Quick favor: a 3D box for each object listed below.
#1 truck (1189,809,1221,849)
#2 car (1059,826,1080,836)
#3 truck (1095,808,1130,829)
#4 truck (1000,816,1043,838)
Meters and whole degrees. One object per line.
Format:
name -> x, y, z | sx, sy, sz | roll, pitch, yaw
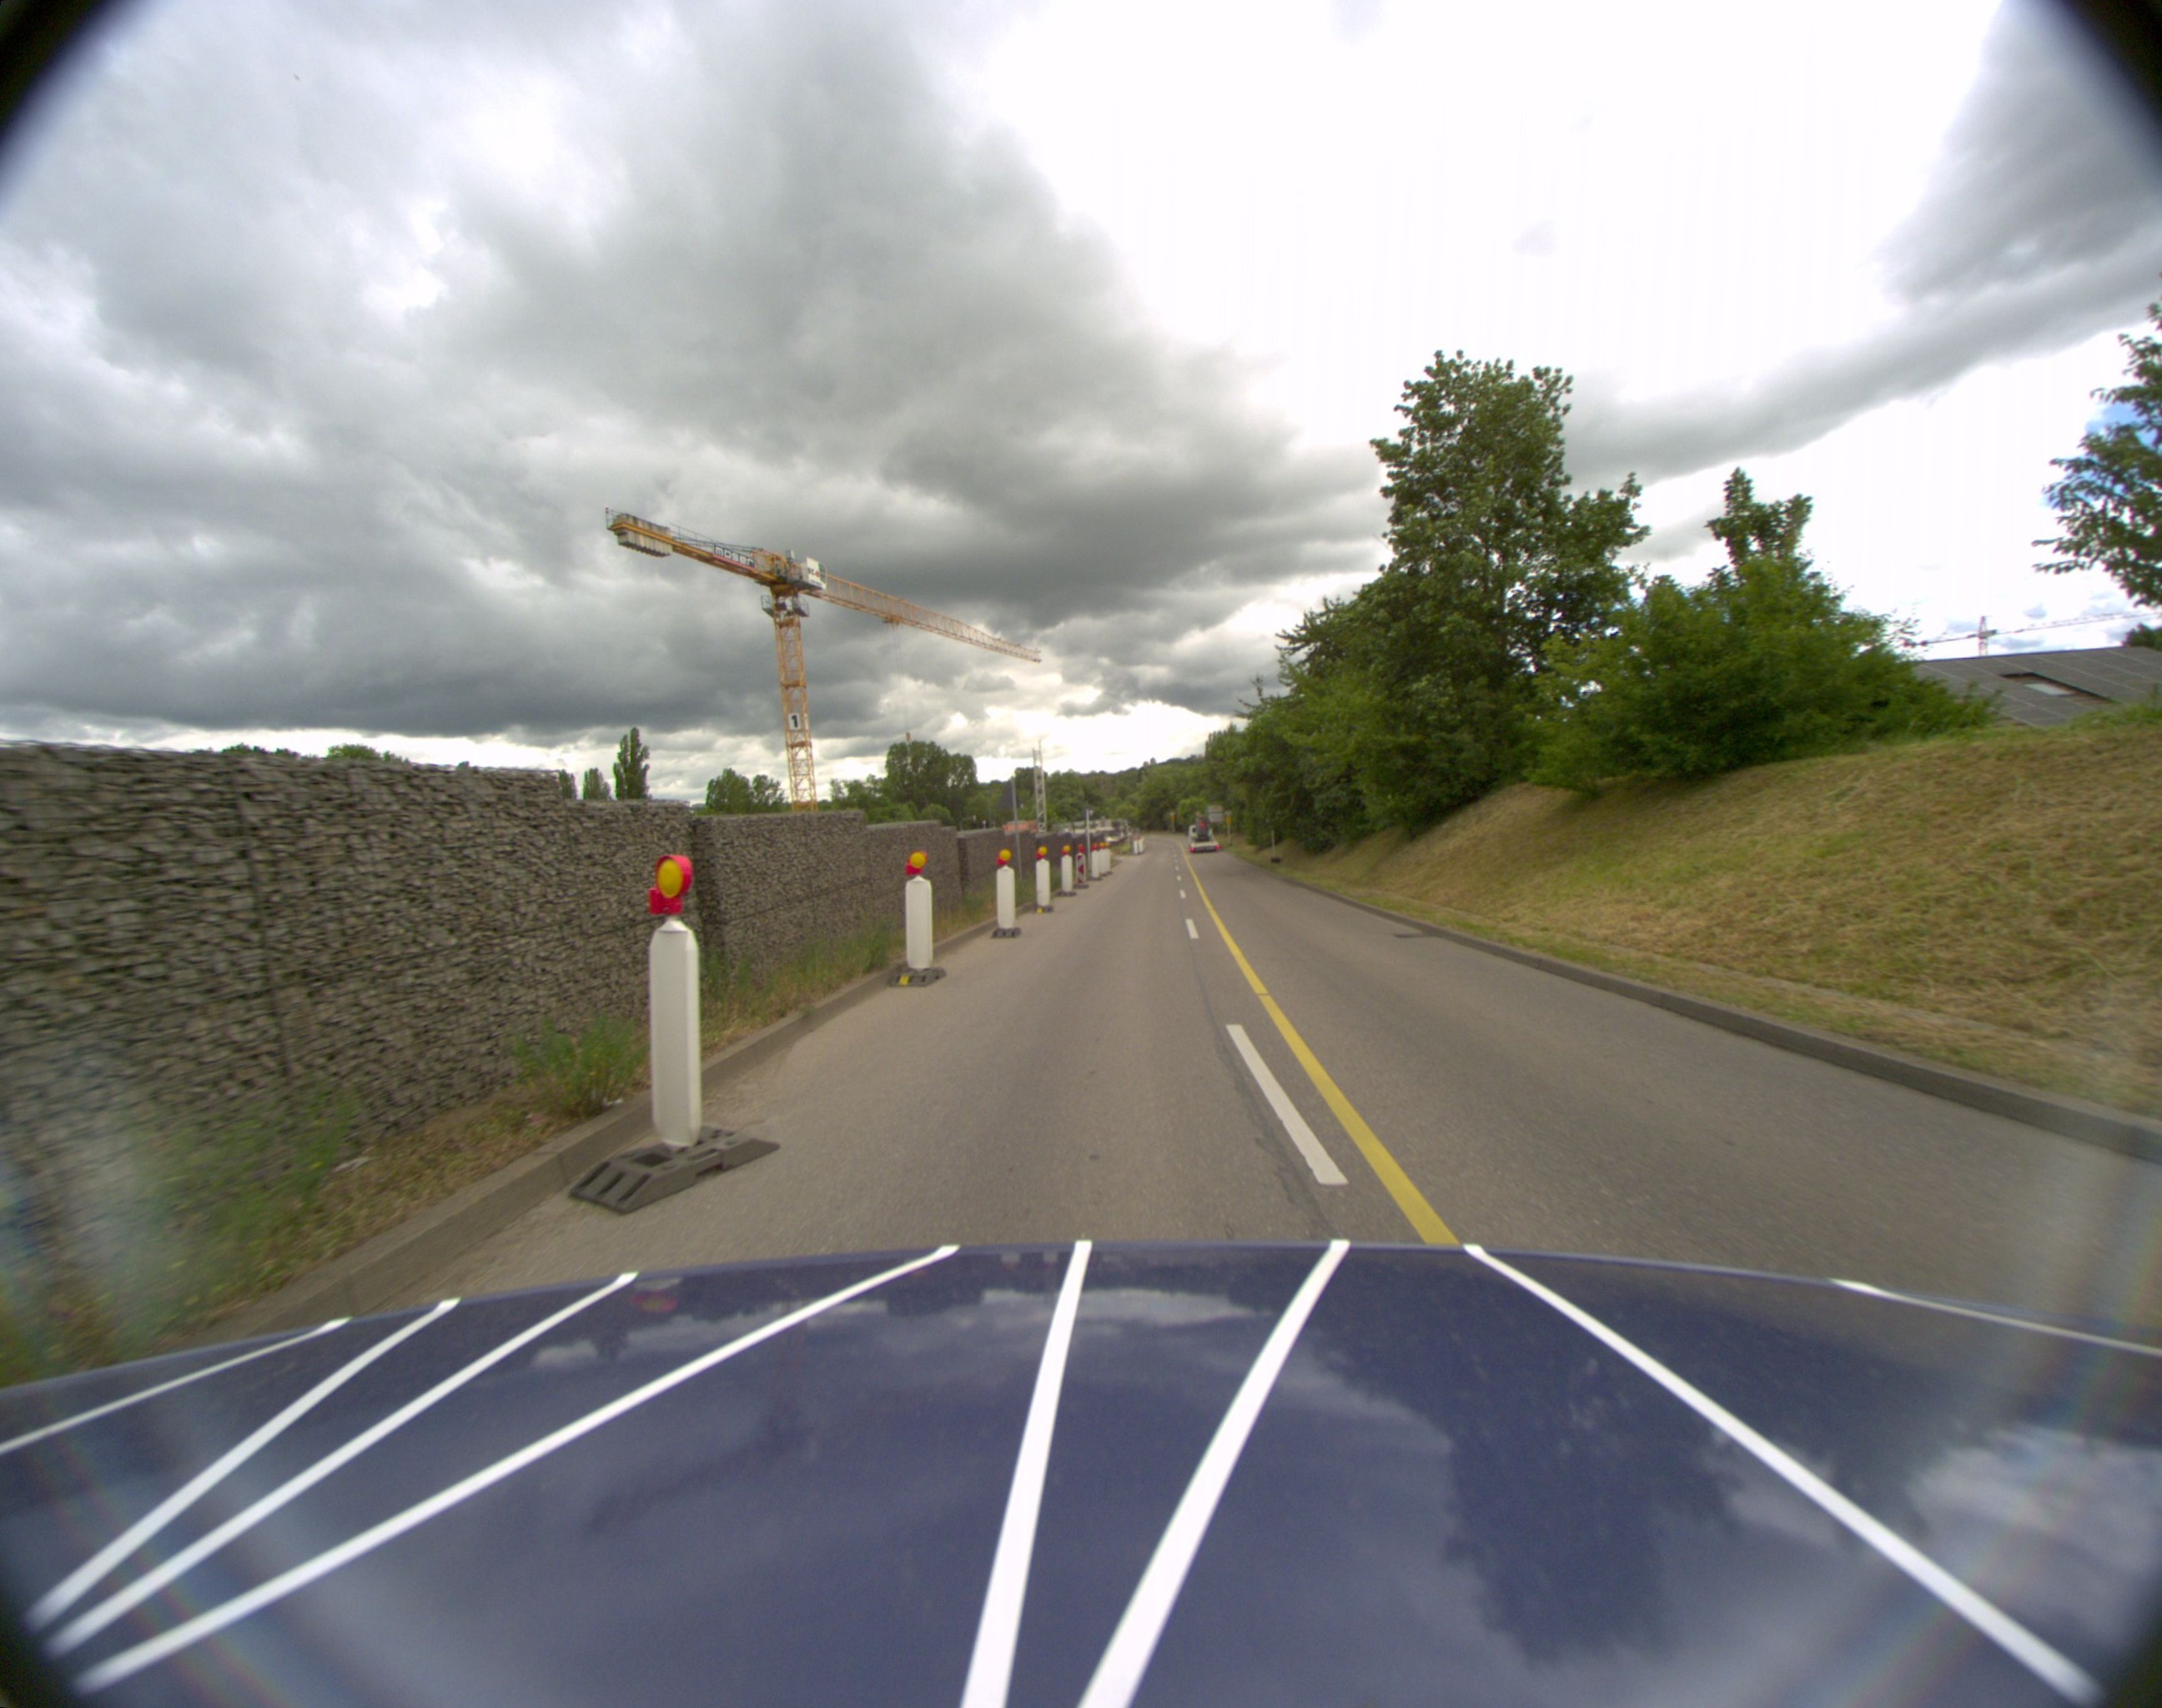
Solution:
truck -> 10.075, -1.995, 62.089 | 2.219, 2.998, 7.741 | -1, 1, 7
car -> -2.132, -4.323, 142.514 | 1.897, 1.555, 4.089 | -8, 4, -36
truck -> 5.244, -6.004, 128.836 | 2.762, 3.241, 7.595 | -6, 4, -22
truck -> -12.179, -5.489, 154.596 | 3.045, 3.877, 9.975 | -8, 4, -42
